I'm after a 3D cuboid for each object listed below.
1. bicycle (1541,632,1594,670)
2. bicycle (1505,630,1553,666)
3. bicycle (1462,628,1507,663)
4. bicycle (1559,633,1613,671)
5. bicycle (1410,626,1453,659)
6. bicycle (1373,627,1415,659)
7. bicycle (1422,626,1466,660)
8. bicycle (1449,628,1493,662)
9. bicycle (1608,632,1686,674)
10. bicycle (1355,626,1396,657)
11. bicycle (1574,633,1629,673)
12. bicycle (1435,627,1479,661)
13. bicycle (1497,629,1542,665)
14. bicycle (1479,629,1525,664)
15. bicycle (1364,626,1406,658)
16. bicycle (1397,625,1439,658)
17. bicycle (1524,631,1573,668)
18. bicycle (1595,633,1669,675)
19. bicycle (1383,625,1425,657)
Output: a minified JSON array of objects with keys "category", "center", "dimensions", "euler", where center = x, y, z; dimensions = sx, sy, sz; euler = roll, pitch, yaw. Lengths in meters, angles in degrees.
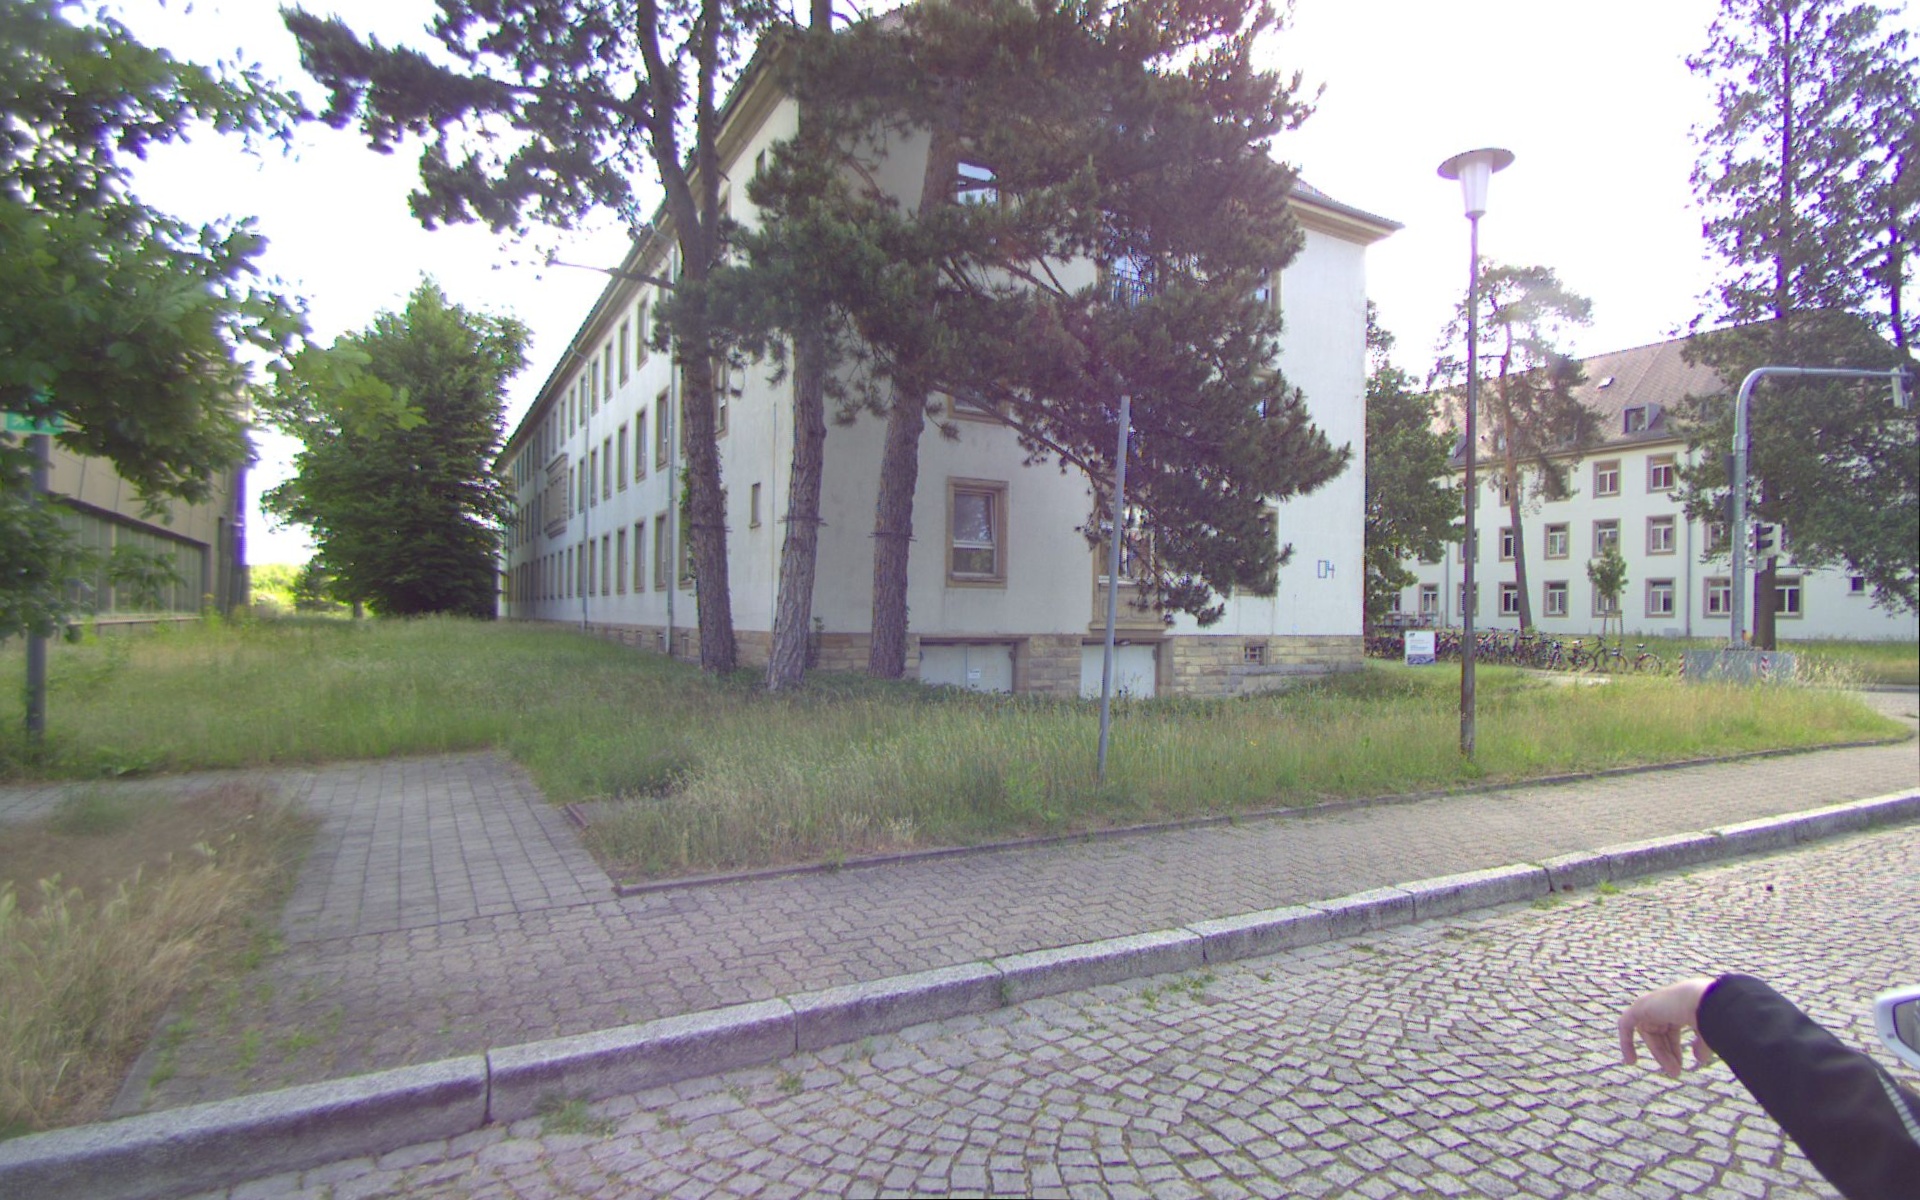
[{"category":"bicycle","center":[20.341,1.692,33.625],"dimensions":[2.080,1.237,0.630],"euler":[1,-1,-31]},{"category":"bicycle","center":[19.993,1.684,35.281],"dimensions":[2.005,1.237,0.576],"euler":[1,-1,-31]},{"category":"bicycle","center":[19.229,1.663,36.840],"dimensions":[1.954,1.237,0.511],"euler":[1,-1,-31]},{"category":"bicycle","center":[20.631,1.700,33.095],"dimensions":[2.099,1.237,0.630],"euler":[1,-1,-31]},{"category":"bicycle","center":[18.173,1.629,38.703],"dimensions":[1.915,1.237,0.511],"euler":[1,-1,-31]},{"category":"bicycle","center":[17.364,1.700,40.158],"dimensions":[1.915,1.237,0.511],"euler":[1,-1,-31]},{"category":"bicycle","center":[18.422,1.635,38.216],"dimensions":[1.915,1.237,0.511],"euler":[1,-1,-31]},{"category":"bicycle","center":[18.970,1.652,37.287],"dimensions":[1.954,1.237,0.511],"euler":[1,-1,-31]},{"category":"bicycle","center":[21.505,1.655,31.471],"dimensions":[0.627,1.237,1.936],"euler":[1,-1,-29]},{"category":"bicycle","center":[16.940,1.689,40.925],"dimensions":[1.915,1.237,0.511],"euler":[1,-1,-31]},{"category":"bicycle","center":[20.876,1.705,32.679],"dimensions":[2.090,1.237,0.630],"euler":[1,-1,-31]},{"category":"bicycle","center":[18.685,1.642,37.728],"dimensions":[1.931,1.237,0.511],"euler":[1,-1,-31]},{"category":"bicycle","center":[20.071,1.683,35.993],"dimensions":[1.878,1.237,0.545],"euler":[1,-1,-31]},{"category":"bicycle","center":[19.586,1.672,36.300],"dimensions":[1.992,1.237,0.511],"euler":[1,-1,-31]},{"category":"bicycle","center":[17.153,1.695,40.531],"dimensions":[1.915,1.237,0.511],"euler":[1,-1,-31]},{"category":"bicycle","center":[17.898,1.621,39.228],"dimensions":[1.915,1.237,0.511],"euler":[1,-1,-31]},{"category":"bicycle","center":[20.249,1.689,34.564],"dimensions":[1.966,1.237,0.569],"euler":[1,-1,-31]},{"category":"bicycle","center":[20.848,1.661,31.200],"dimensions":[0.627,1.237,1.853],"euler":[1,-1,-29]},{"category":"bicycle","center":[17.589,1.613,39.753],"dimensions":[1.915,1.237,0.511],"euler":[1,-1,-31]}]
